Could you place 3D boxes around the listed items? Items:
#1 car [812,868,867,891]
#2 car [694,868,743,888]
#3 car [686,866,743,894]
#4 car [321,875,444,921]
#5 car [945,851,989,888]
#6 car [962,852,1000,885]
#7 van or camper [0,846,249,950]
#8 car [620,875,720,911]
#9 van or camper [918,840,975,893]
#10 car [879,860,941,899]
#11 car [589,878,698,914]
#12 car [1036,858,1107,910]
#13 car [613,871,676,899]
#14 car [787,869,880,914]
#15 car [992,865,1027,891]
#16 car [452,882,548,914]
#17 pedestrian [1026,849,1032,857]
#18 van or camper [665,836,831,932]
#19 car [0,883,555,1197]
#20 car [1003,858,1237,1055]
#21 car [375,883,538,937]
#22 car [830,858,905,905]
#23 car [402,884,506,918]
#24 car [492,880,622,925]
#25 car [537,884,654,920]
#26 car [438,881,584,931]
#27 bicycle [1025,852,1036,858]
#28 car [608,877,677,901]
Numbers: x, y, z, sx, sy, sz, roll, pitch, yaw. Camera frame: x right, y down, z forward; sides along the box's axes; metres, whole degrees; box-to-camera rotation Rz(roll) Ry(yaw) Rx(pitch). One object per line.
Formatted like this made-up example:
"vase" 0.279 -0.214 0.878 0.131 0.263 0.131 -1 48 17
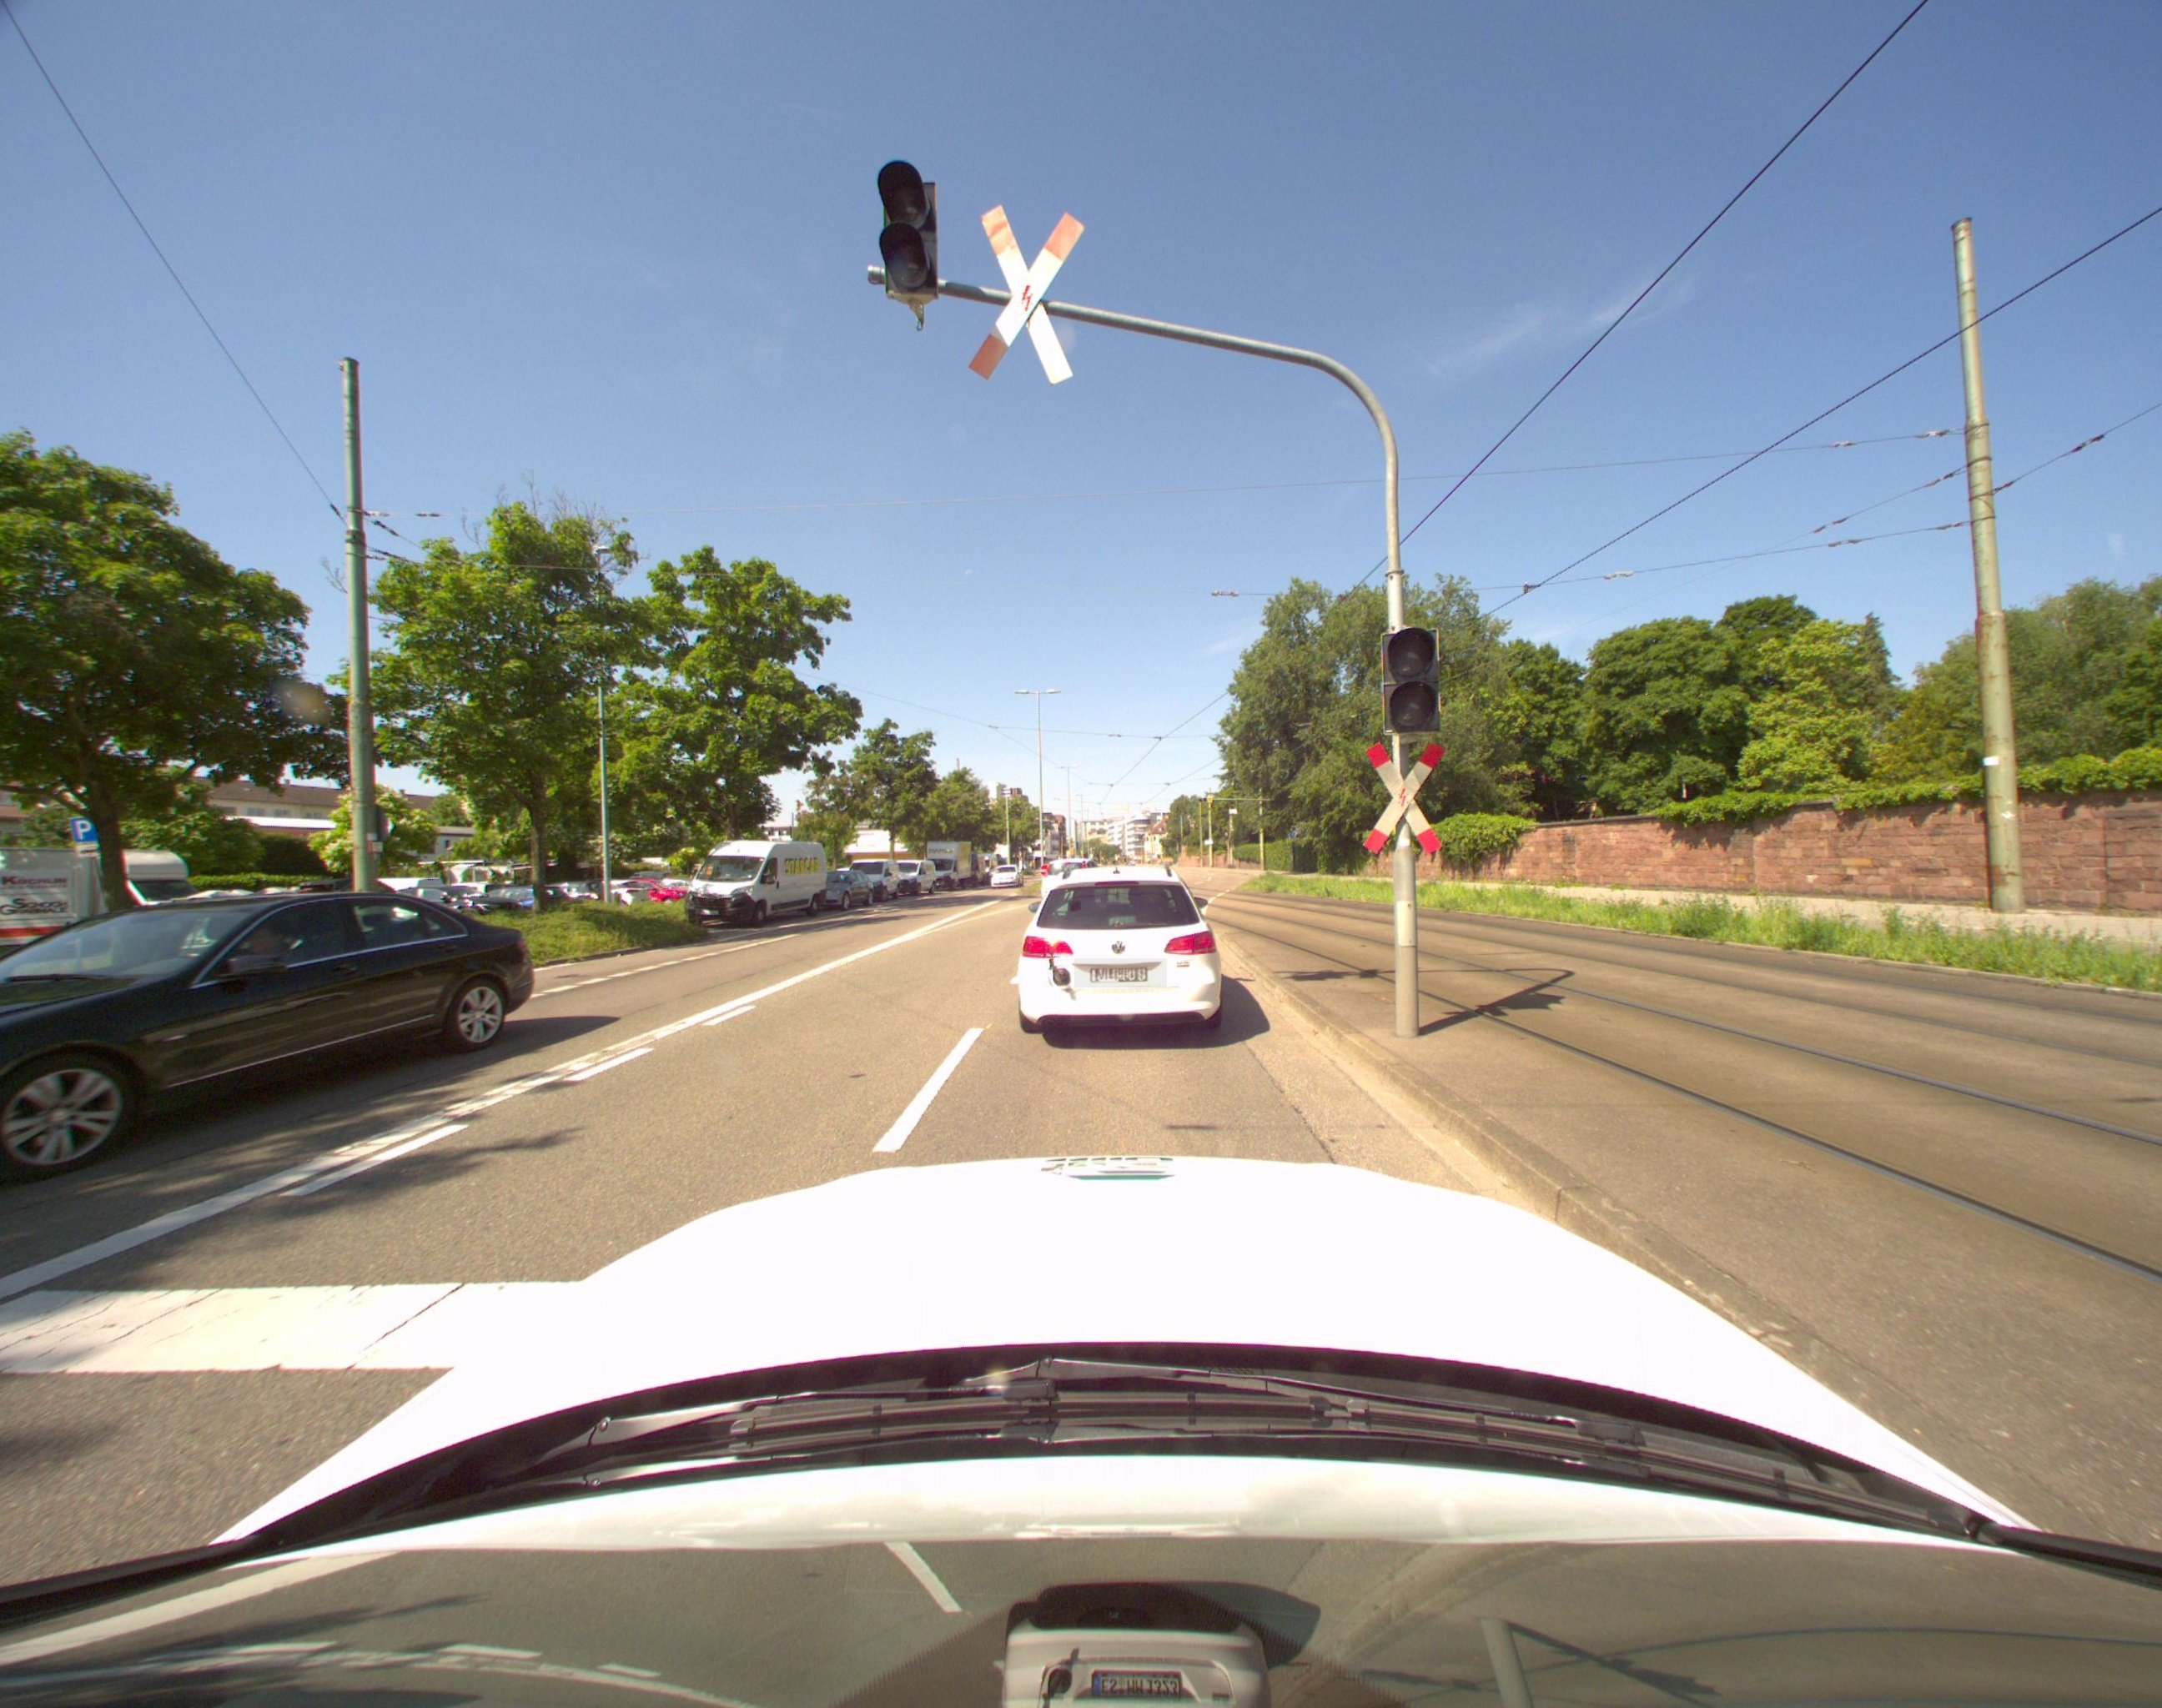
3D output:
"car" -19.768 2.076 66.722 3.975 1.694 1.663 -2 -1 -1
"car" -43.811 2.843 98.516 4.915 2.174 2.099 -2 -1 -2
"car" -31.638 2.245 70.301 3.977 2.200 1.909 -2 -1 -2
"car" -32.072 1.991 37.464 3.977 1.891 1.784 -2 -1 -2
"car" -8.491 1.115 61.101 2.187 2.668 6.082 0 0 2
"car" -8.273 1.170 67.816 2.187 2.631 5.981 0 0 2
"van or camper" -32.967 1.444 27.505 6.928 3.245 2.581 -1 -1 -1
"car" -20.017 1.883 39.739 3.973 1.544 1.664 -2 -1 1
"van or camper" -8.670 0.765 53.174 2.187 3.241 6.777 0 0 3
"car" -9.313 1.324 44.809 2.189 1.941 5.184 -2 -1 0
"car" -19.905 1.900 37.175 3.973 1.409 1.732 -2 -1 1
"car" -0.236 0.950 27.143 1.720 1.596 4.020 -1 0 8
"car" -34.950 2.461 65.252 3.977 2.003 1.909 -2 -1 -2
"car" -9.446 1.389 31.532 1.925 1.455 4.887 -2 -1 2
"car" -4.463 1.492 51.320 1.721 1.465 4.002 -1 0 2
"car" -32.452 2.426 45.549 3.977 1.544 1.784 -2 -1 -2
"pedestrian" -9.505 -0.152 149.513 0.559 1.487 0.821 -3 -1 45
"van or camper" -10.017 0.839 25.253 2.248 2.515 6.152 -2 -1 3
"car" -6.099 1.020 5.774 1.779 1.409 4.306 -3 -1 2
"car" 0.375 0.789 8.102 1.772 1.490 3.849 0 0 2
"car" -20.386 1.806 26.705 3.974 1.544 1.663 -2 -1 -1
"car" -9.810 1.226 37.873 2.190 1.941 5.180 -2 -1 -2
"car" -32.722 2.425 42.589 3.977 1.544 1.784 -2 -1 -2
"car" -20.625 1.899 32.145 3.973 1.544 1.664 -2 -1 1
"car" -20.491 2.015 34.477 3.902 1.271 1.664 -2 -1 1
"car" -20.305 1.845 29.107 3.974 1.544 1.663 -2 -1 -1
"bicycle" -9.280 0.207 148.941 0.546 0.921 2.190 -3 -1 45
"car" -32.058 2.559 59.603 3.977 1.544 1.784 -2 -1 -2
